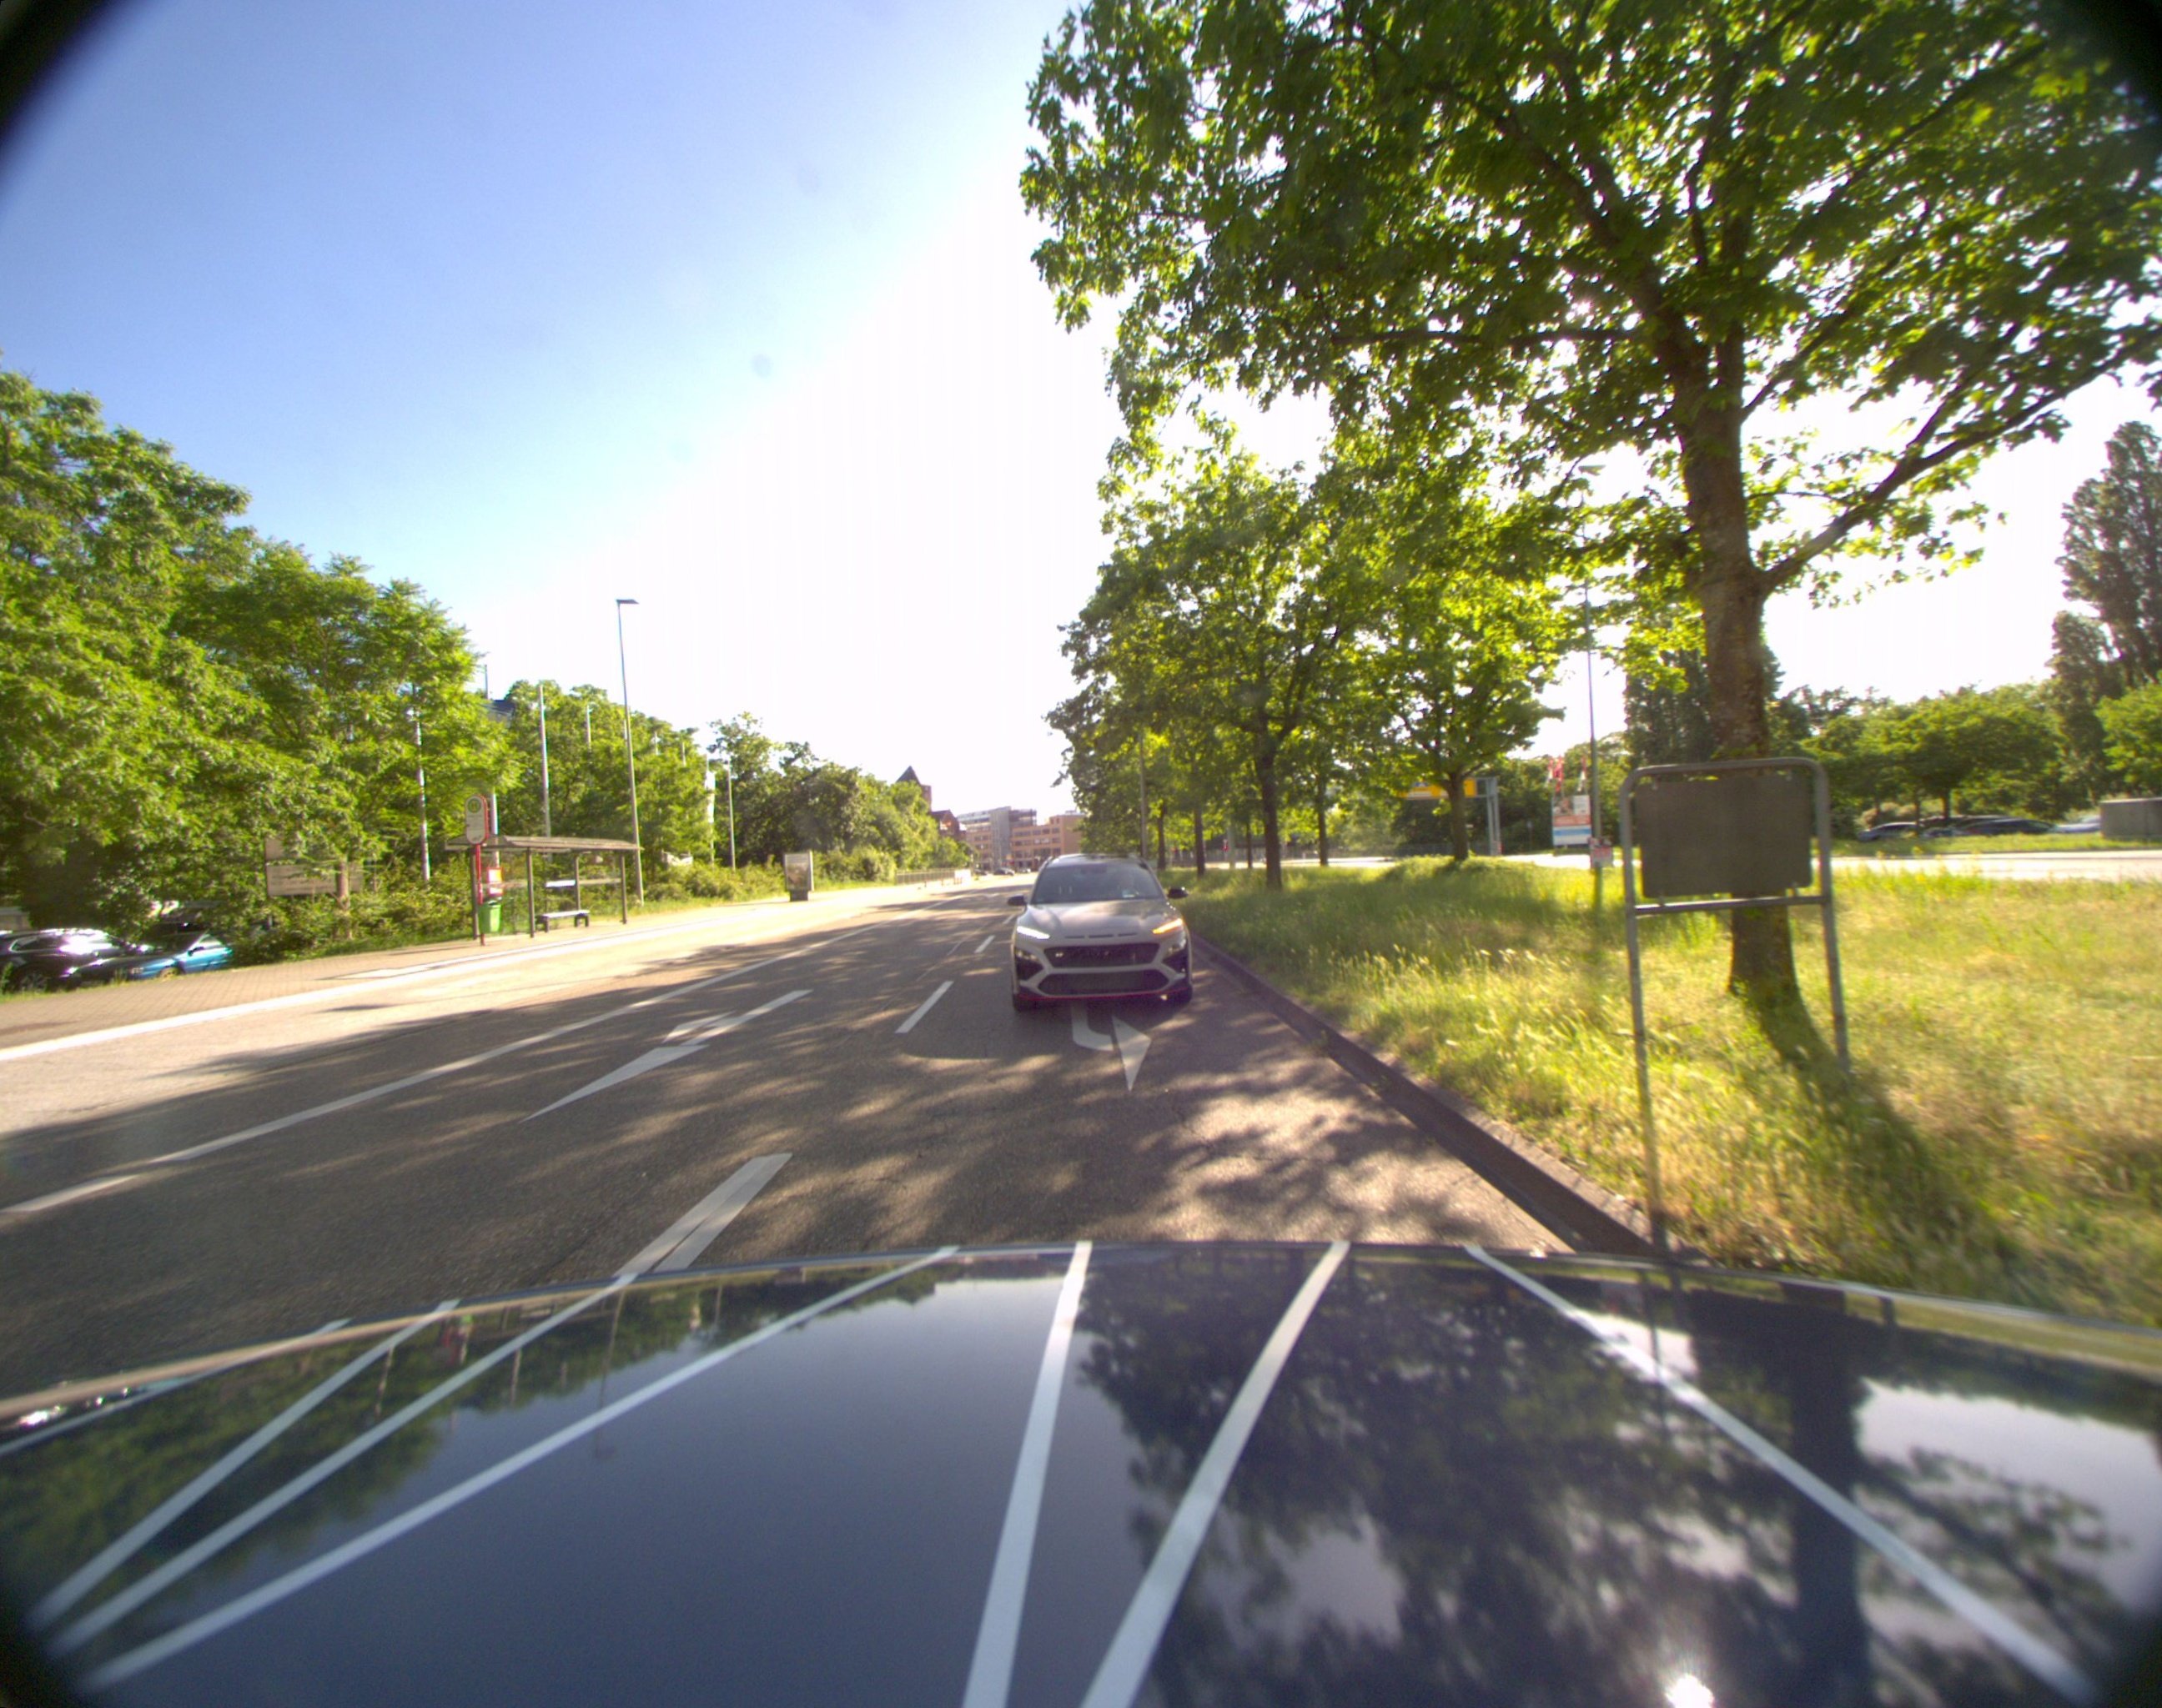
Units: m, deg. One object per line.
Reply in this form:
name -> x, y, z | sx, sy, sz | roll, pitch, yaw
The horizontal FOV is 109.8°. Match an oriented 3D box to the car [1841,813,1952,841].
car -> 52.741, -1.701, 49.227 | 2.003, 1.455, 4.547 | -5, 1, -31

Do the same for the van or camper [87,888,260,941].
van or camper -> -44.968, 2.934, 37.920 | 2.458, 2.146, 5.325 | -3, 0, -7

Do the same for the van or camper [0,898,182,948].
van or camper -> -48.693, 3.338, 37.502 | 2.458, 1.902, 5.325 | -3, 0, -5

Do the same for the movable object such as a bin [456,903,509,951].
movable object such as a bin -> -14.038, 1.704, 17.839 | 0.728, 1.024, 0.578 | -3, 0, -1

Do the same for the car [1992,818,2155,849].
car -> 43.911, -0.882, 33.767 | 1.822, 1.122, 3.997 | -3, 0, -8

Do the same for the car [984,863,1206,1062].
car -> 0.153, 0.941, 8.356 | 1.780, 1.542, 3.980 | -3, 0, 1

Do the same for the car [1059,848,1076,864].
car -> -1.782, 0.320, 98.803 | 1.746, 1.537, 4.002 | -3, -6, -7

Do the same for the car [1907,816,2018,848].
car -> 44.368, -1.092, 38.374 | 1.818, 1.439, 4.005 | -3, 0, 18

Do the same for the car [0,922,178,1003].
car -> -27.237, 2.866, 20.166 | 1.609, 1.654, 4.000 | -4, 0, 1

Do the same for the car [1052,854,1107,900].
car -> 0.007, 0.833, 29.342 | 1.744, 1.539, 4.001 | -3, 0, 4

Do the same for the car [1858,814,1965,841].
car -> 55.825, -1.767, 51.171 | 2.003, 1.455, 4.547 | -5, 1, -31

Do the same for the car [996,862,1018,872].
car -> -12.176, 2.155, 124.749 | 1.833, 1.464, 3.990 | -3, 0, -36

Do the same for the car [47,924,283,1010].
car -> -23.949, 2.892, 20.096 | 1.766, 1.628, 3.613 | -3, 0, 1
